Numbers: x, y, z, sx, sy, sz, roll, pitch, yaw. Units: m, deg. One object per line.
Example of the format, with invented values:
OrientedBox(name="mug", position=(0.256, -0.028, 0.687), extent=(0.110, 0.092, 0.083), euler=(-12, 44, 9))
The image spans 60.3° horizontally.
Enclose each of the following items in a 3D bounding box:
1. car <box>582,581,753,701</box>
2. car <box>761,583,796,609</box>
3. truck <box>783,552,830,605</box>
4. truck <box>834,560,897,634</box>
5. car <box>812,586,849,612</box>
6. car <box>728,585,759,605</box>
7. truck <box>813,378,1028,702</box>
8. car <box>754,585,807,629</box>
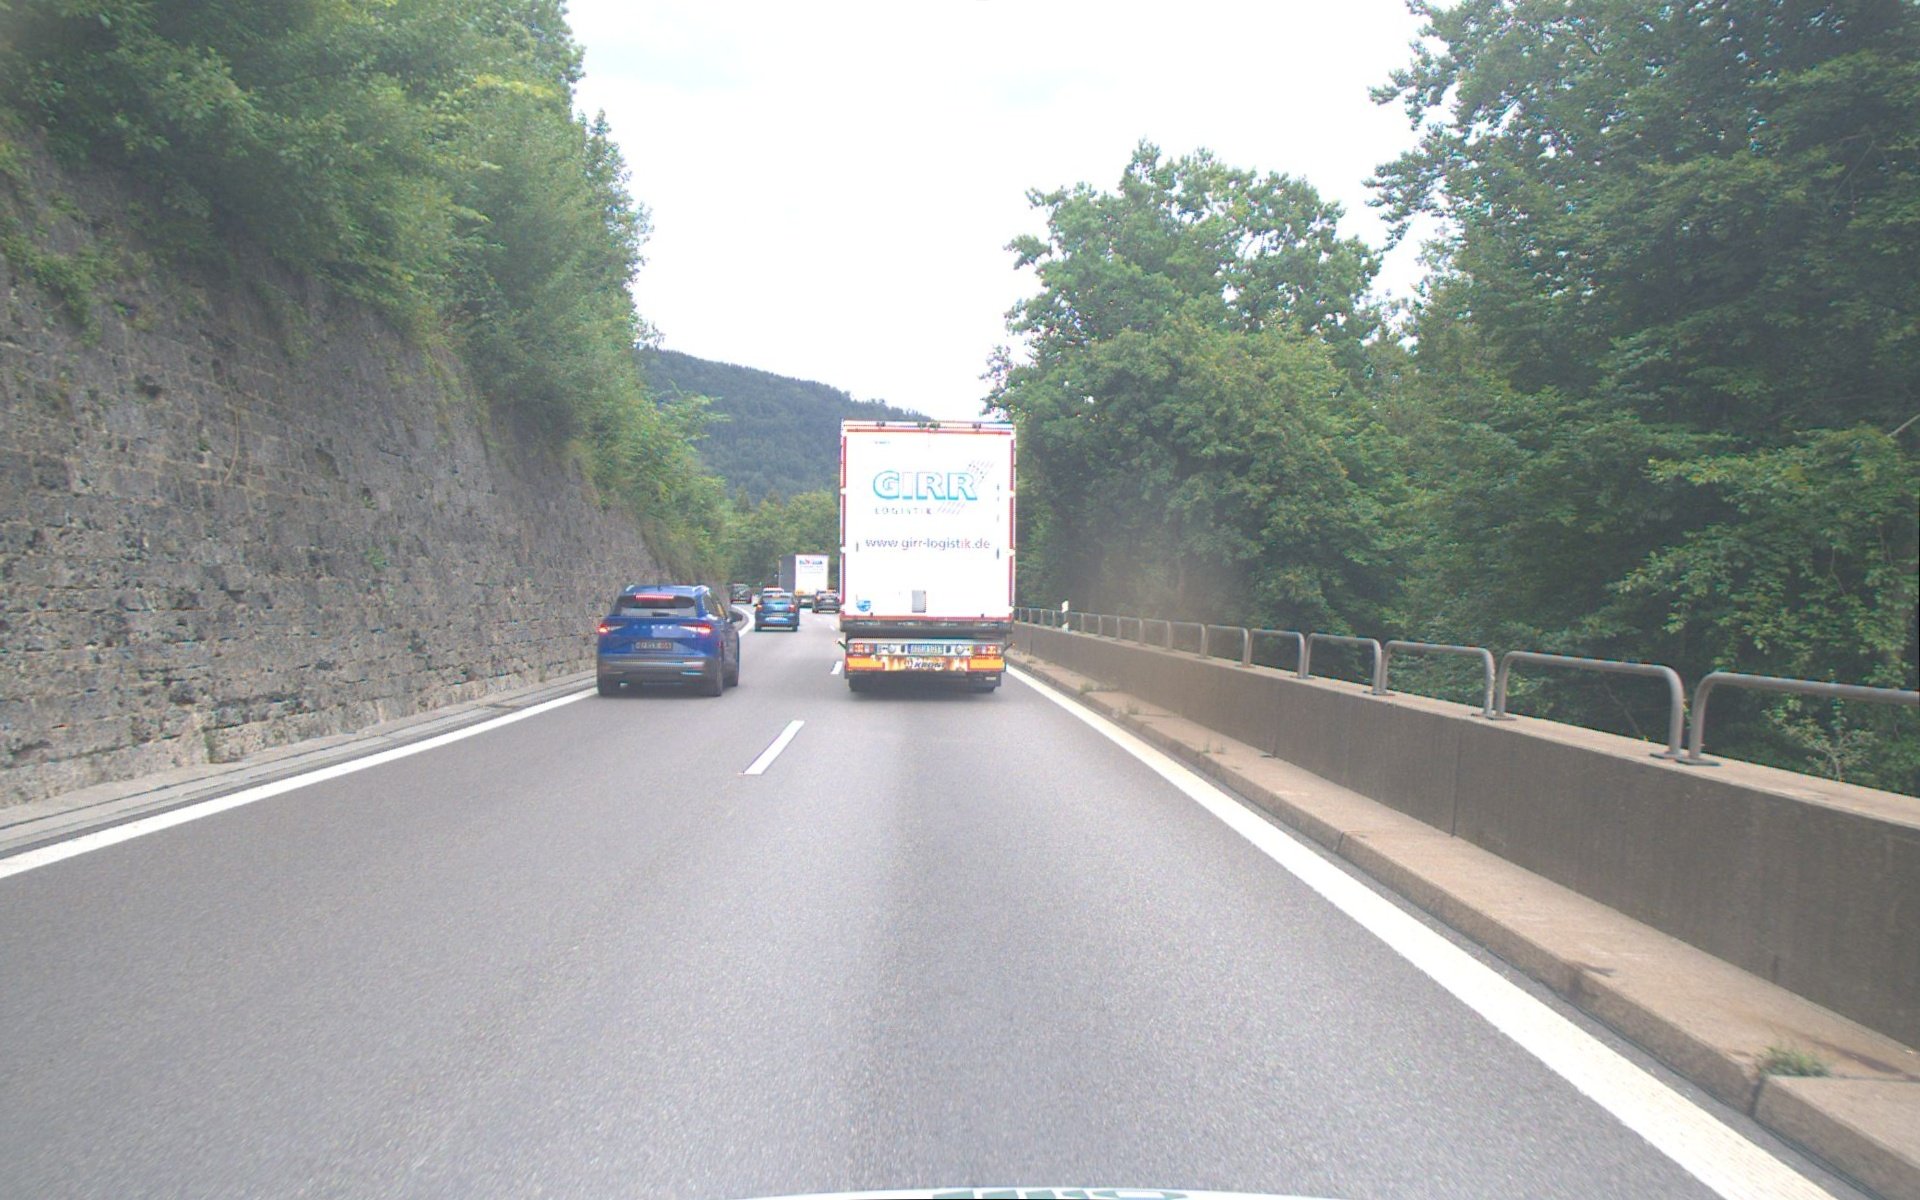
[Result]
OrientedBox(name="car", position=(-4.419, 0.575, 25.754), extent=(1.953, 1.660, 5.006), euler=(1, 0, -2))
OrientedBox(name="car", position=(-11.292, -0.265, 102.800), extent=(1.862, 1.577, 4.240), euler=(1, 0, -10))
OrientedBox(name="truck", position=(-12.007, -1.657, 128.594), extent=(2.587, 3.925, 12.328), euler=(0, 1, -10))
OrientedBox(name="truck", position=(-3.963, -0.136, 68.486), extent=(2.167, 2.901, 4.994), euler=(1, 0, -8))
OrientedBox(name="car", position=(-8.393, -0.078, 106.615), extent=(2.023, 1.683, 3.991), euler=(0, 1, -10))
OrientedBox(name="car", position=(-18.403, -0.444, 140.425), extent=(1.867, 1.577, 4.229), euler=(1, 0, -17))
OrientedBox(name="truck", position=(-0.797, -0.908, 30.831), extent=(3.022, 4.542, 15.150), euler=(0, 1, -2))
OrientedBox(name="car", position=(-6.994, 0.265, 64.593), extent=(1.955, 1.624, 4.348), euler=(1, 0, -6))
